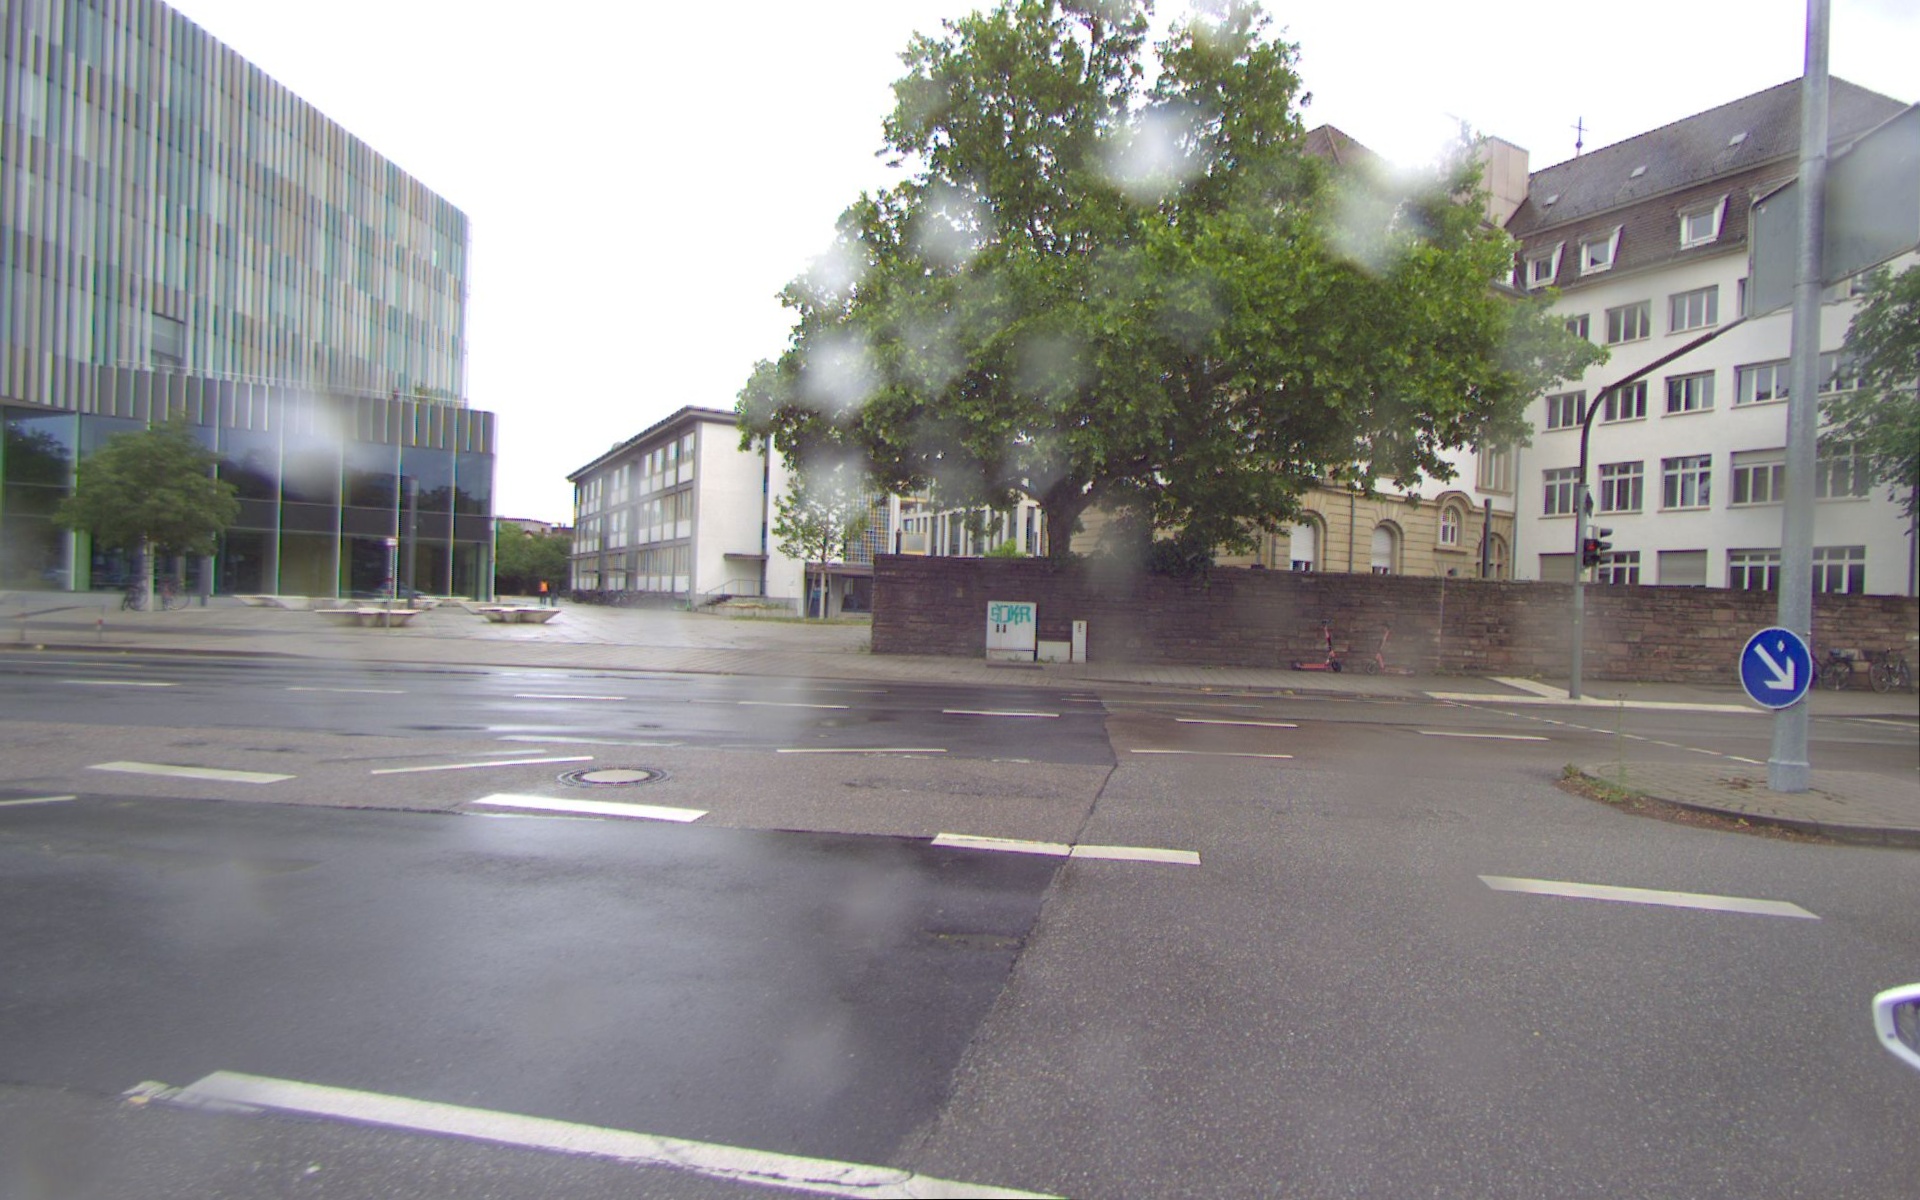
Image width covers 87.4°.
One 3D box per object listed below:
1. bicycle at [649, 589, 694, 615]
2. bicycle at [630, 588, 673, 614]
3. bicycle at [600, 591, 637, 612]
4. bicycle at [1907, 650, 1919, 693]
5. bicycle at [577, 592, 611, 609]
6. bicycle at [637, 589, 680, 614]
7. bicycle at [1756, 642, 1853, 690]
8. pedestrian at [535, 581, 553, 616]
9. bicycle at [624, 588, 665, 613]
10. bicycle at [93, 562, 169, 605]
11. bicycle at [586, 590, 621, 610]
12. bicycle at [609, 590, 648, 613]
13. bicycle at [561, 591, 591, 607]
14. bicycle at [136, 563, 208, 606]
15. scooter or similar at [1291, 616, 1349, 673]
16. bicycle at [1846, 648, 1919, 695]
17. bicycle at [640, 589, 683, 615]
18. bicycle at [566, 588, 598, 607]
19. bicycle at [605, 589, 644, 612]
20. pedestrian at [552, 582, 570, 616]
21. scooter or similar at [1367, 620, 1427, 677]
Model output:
[{"bbox_3d":[-15.936,0.120,55.504,2.234,1.384,0.761,2,0,-25],"label":"bicycle"},{"bbox_3d":[-17.905,0.067,58.298,2.234,1.384,0.761,2,0,-25],"label":"bicycle"},{"bbox_3d":[-22.367,0.083,65.827,2.234,1.292,0.761,2,0,-25],"label":"bicycle"},{"bbox_3d":[23.339,1.718,23.537,1.669,0.996,0.733,2,0,-5],"label":"bicycle"},{"bbox_3d":[-26.578,0.030,72.994,2.234,1.183,0.761,2,0,-25],"label":"bicycle"},{"bbox_3d":[-17.198,0.086,57.283,2.234,1.384,0.761,2,0,-25],"label":"bicycle"},{"bbox_3d":[19.685,1.533,23.436,1.669,0.996,0.733,2,0,-5],"label":"bicycle"},{"bbox_3d":[-25.057,-0.098,60.512,0.892,2.040,0.841,2,0,-21],"label":"pedestrian"},{"bbox_3d":[-18.878,0.042,60.030,2.234,1.384,0.761,2,0,-25],"label":"bicycle"},{"bbox_3d":[-25.164,-0.475,30.540,0.587,1.238,2.284,2,0,-6],"label":"bicycle"},{"bbox_3d":[-25.133,-0.004,70.811,2.234,1.329,0.761,2,0,-25],"label":"bicycle"},{"bbox_3d":[-20.973,0.074,63.611,2.234,1.384,0.761,2,0,-25],"label":"bicycle"},{"bbox_3d":[-31.049,-0.099,81.210,2.234,1.219,0.761,2,0,-25],"label":"bicycle"},{"bbox_3d":[-24.163,-0.464,30.858,0.587,1.238,2.284,2,0,-6],"label":"bicycle"},{"bbox_3d":[8.259,1.020,23.064,1.119,1.214,0.392,2,7,1],"label":"scooter or similar"},{"bbox_3d":[21.658,1.655,23.255,1.669,0.996,0.733,2,0,-5],"label":"bicycle"},{"bbox_3d":[-16.788,0.096,56.478,2.234,1.384,0.761,2,0,-25],"label":"bicycle"},{"bbox_3d":[-29.789,-0.166,79.187,2.234,1.420,0.761,2,0,-25],"label":"bicycle"},{"bbox_3d":[-21.531,0.032,64.497,2.234,1.438,0.761,2,0,-25],"label":"bicycle"},{"bbox_3d":[-24.197,-0.054,60.929,0.892,2.040,0.841,2,0,-21],"label":"pedestrian"},{"bbox_3d":[9.986,1.101,22.978,1.119,1.214,0.392,2,7,0],"label":"scooter or similar"}]
